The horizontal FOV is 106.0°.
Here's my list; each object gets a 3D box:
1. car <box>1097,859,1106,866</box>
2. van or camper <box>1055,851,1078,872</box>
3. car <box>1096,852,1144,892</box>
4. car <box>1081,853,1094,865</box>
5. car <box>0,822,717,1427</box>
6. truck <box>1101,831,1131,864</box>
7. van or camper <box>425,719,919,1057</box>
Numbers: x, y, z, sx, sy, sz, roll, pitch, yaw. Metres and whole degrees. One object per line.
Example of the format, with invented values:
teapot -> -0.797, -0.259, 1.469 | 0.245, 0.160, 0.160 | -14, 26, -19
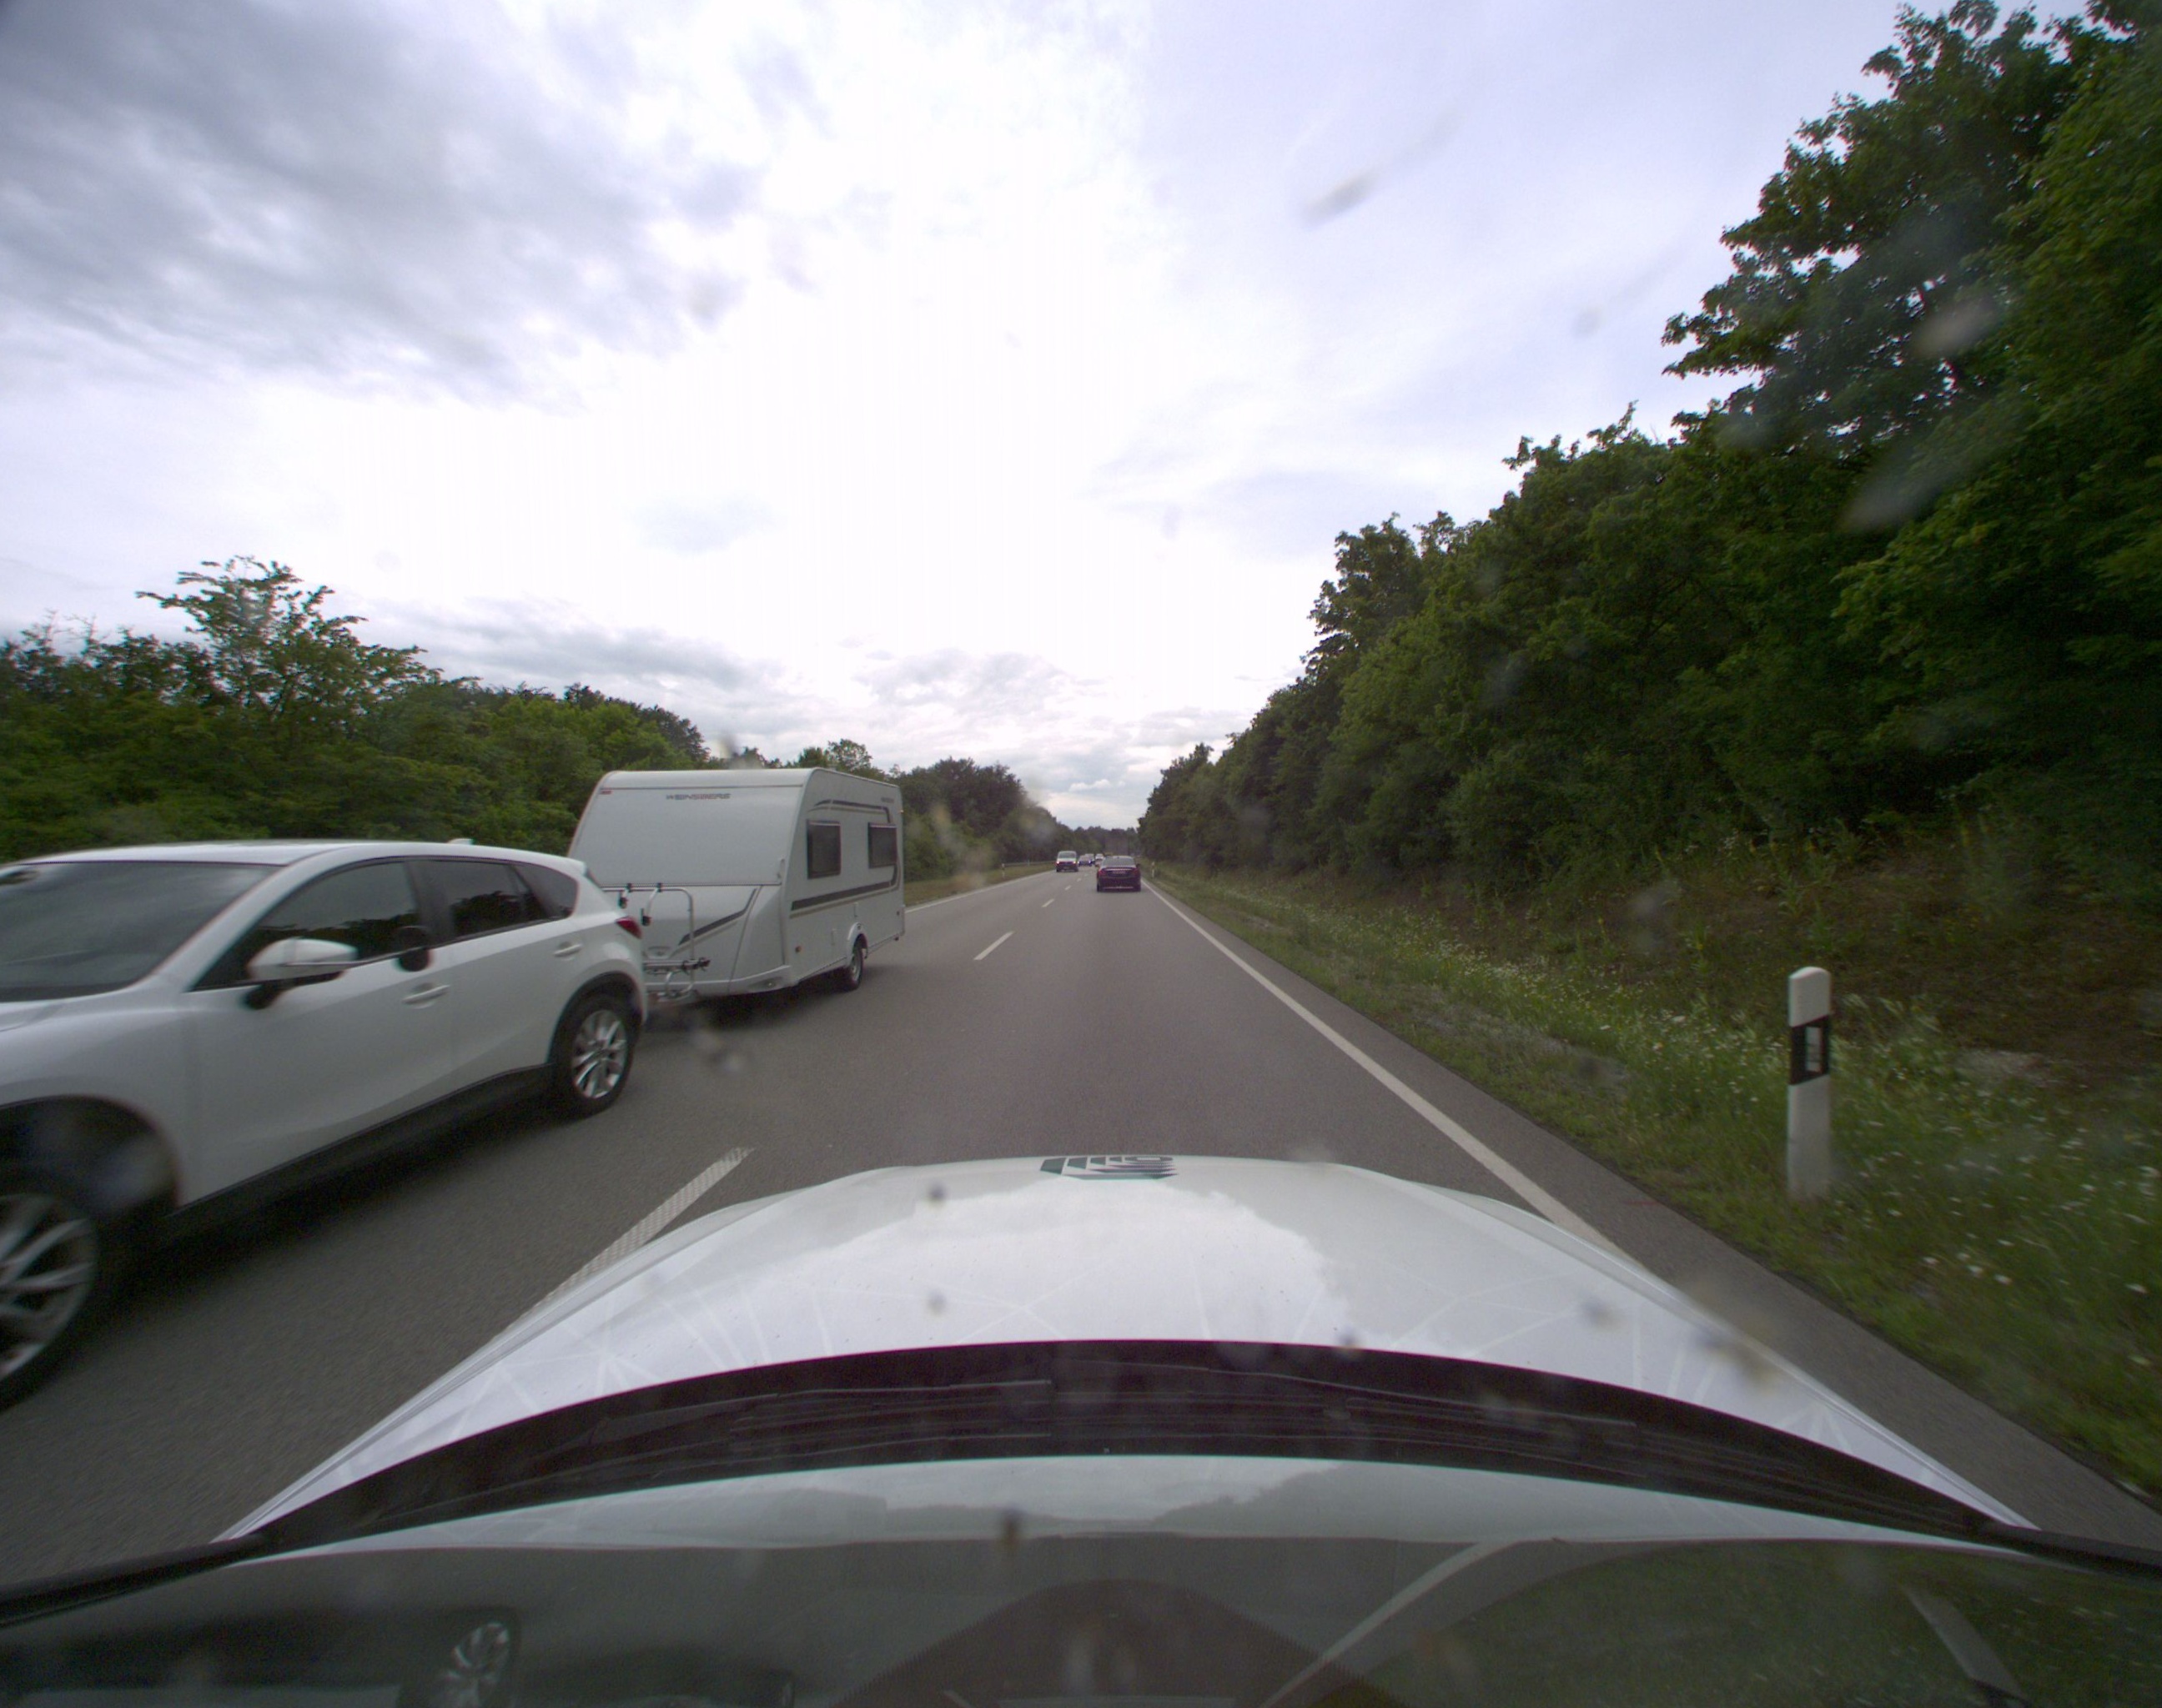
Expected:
car -> 4.576, 1.913, 181.053 | 1.868, 1.559, 3.757 | -1, 0, 2
van or camper -> -1.321, 0.679, 76.248 | 1.914, 1.892, 5.365 | -1, 0, 2
car -> 1.605, 0.735, 34.575 | 1.786, 1.552, 3.998 | -1, 0, -1
car -> 0.903, 0.687, 110.631 | 1.681, 1.479, 4.458 | -1, 0, 2
car -> -3.954, 0.735, 3.804 | 2.270, 1.603, 4.693 | -1, 0, 2
truck -> 4.210, -0.721, 95.061 | 3.267, 3.611, 11.409 | -1, 0, 3
van or camper -> -3.776, 0.273, 9.397 | 2.371, 2.575, 6.281 | -1, 0, 1
